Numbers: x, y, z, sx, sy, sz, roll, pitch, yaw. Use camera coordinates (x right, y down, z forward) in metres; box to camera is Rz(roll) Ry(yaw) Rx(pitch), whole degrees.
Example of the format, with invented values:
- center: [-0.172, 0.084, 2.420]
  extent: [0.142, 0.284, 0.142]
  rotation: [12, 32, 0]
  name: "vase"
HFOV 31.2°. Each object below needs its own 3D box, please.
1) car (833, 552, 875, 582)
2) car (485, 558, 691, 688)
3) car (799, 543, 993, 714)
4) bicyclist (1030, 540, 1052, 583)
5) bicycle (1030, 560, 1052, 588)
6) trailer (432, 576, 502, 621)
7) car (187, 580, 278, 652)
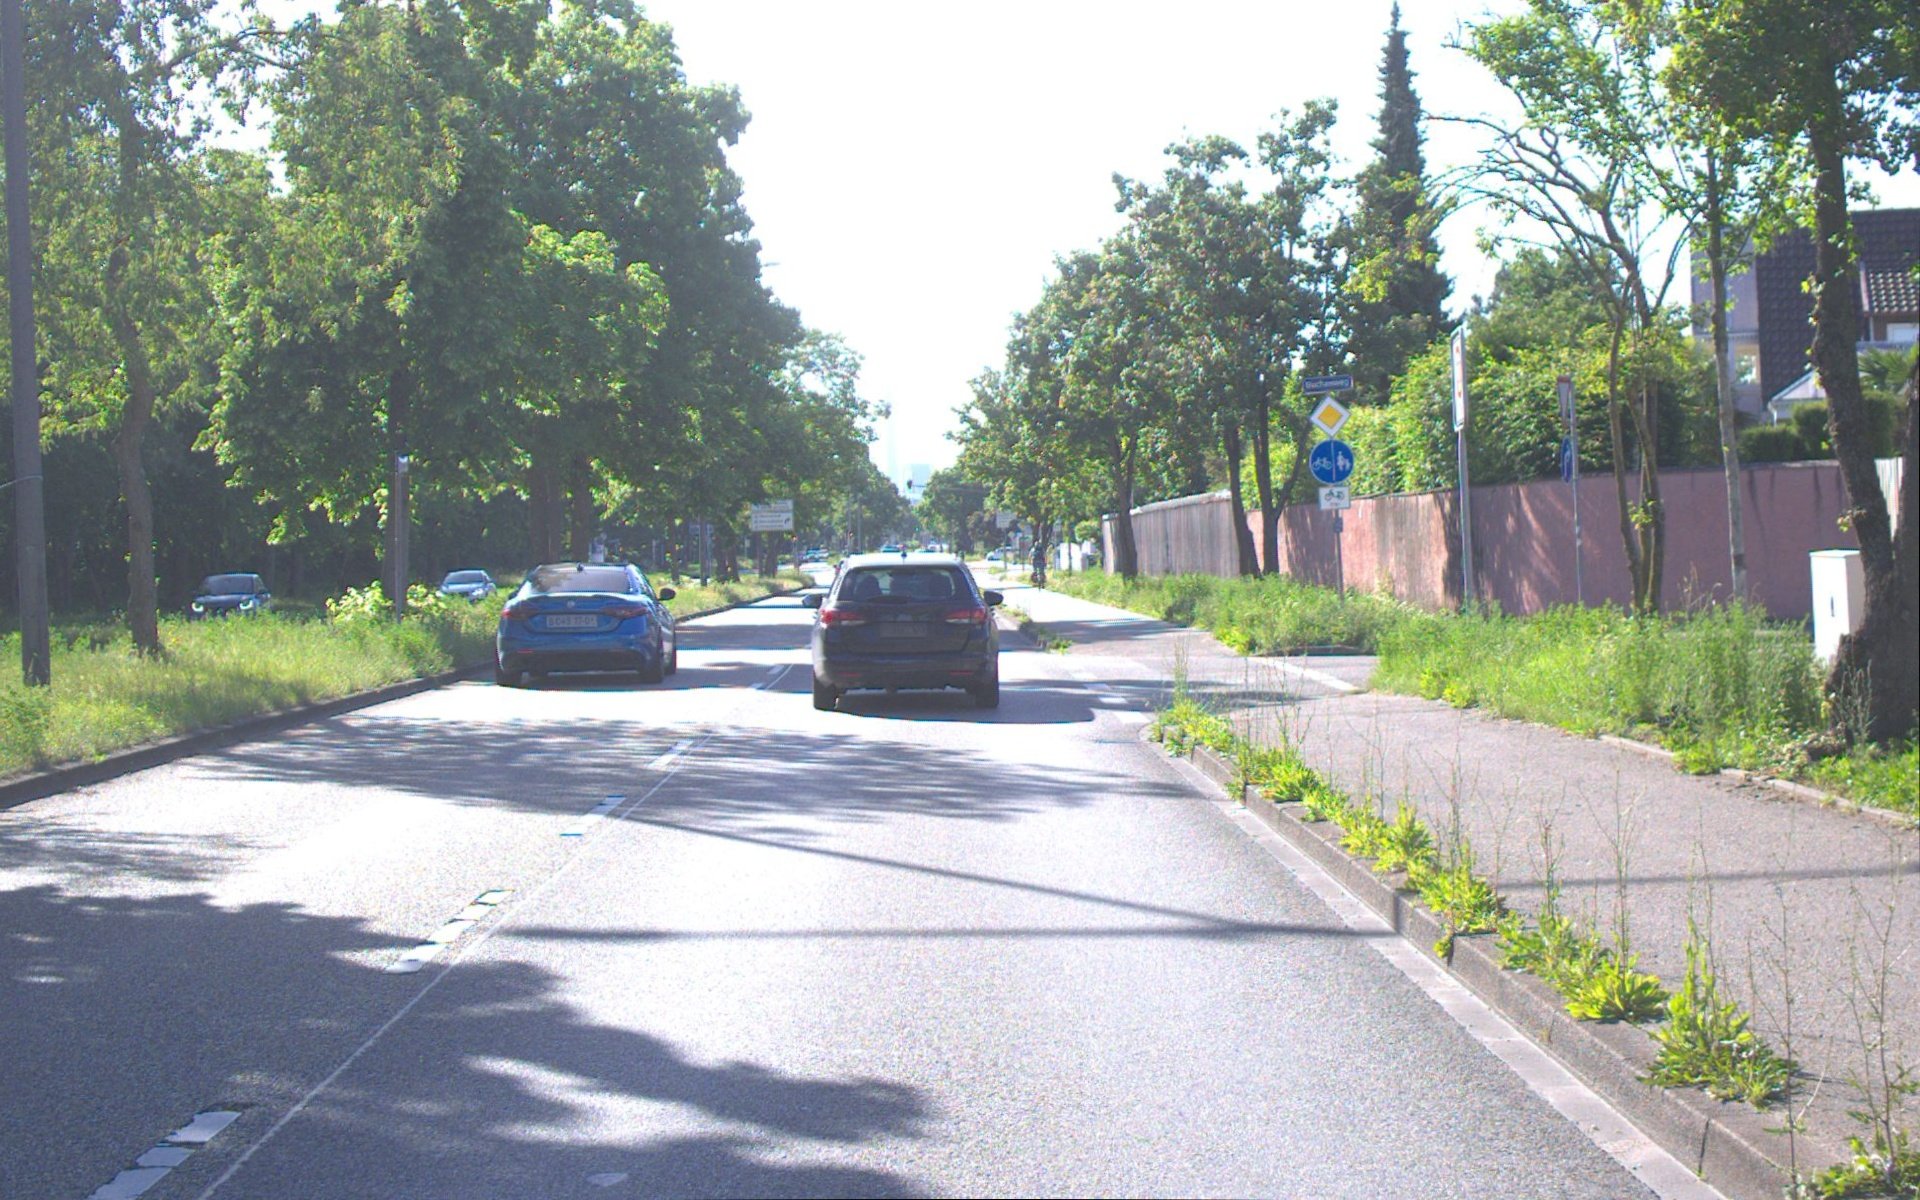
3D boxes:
- center: [-5.581, -1.729, 180.576]
  extent: [1.978, 1.435, 4.001]
  rotation: [-1, 2, -4]
  name: "car"
- center: [-4.336, 0.234, 40.580]
  extent: [1.995, 1.400, 4.000]
  rotation: [-1, 1, 0]
  name: "car"
- center: [-0.572, 0.236, 33.508]
  extent: [1.760, 1.554, 4.000]
  rotation: [0, 1, 0]
  name: "car"
- center: [2.703, -1.278, 114.795]
  extent: [0.680, 1.414, 0.812]
  rotation: [-1, 1, -1]
  name: "bicyclist"
- center: [2.692, -0.869, 114.795]
  extent: [0.655, 0.889, 1.875]
  rotation: [-1, 1, -1]
  name: "bicycle"
- center: [-17.222, -0.071, 120.270]
  extent: [1.740, 1.419, 4.496]
  rotation: [-3, 1, 0]
  name: "trailer"
- center: [-17.459, 0.376, 82.632]
  extent: [1.714, 1.500, 3.017]
  rotation: [-4, 2, -5]
  name: "car"
